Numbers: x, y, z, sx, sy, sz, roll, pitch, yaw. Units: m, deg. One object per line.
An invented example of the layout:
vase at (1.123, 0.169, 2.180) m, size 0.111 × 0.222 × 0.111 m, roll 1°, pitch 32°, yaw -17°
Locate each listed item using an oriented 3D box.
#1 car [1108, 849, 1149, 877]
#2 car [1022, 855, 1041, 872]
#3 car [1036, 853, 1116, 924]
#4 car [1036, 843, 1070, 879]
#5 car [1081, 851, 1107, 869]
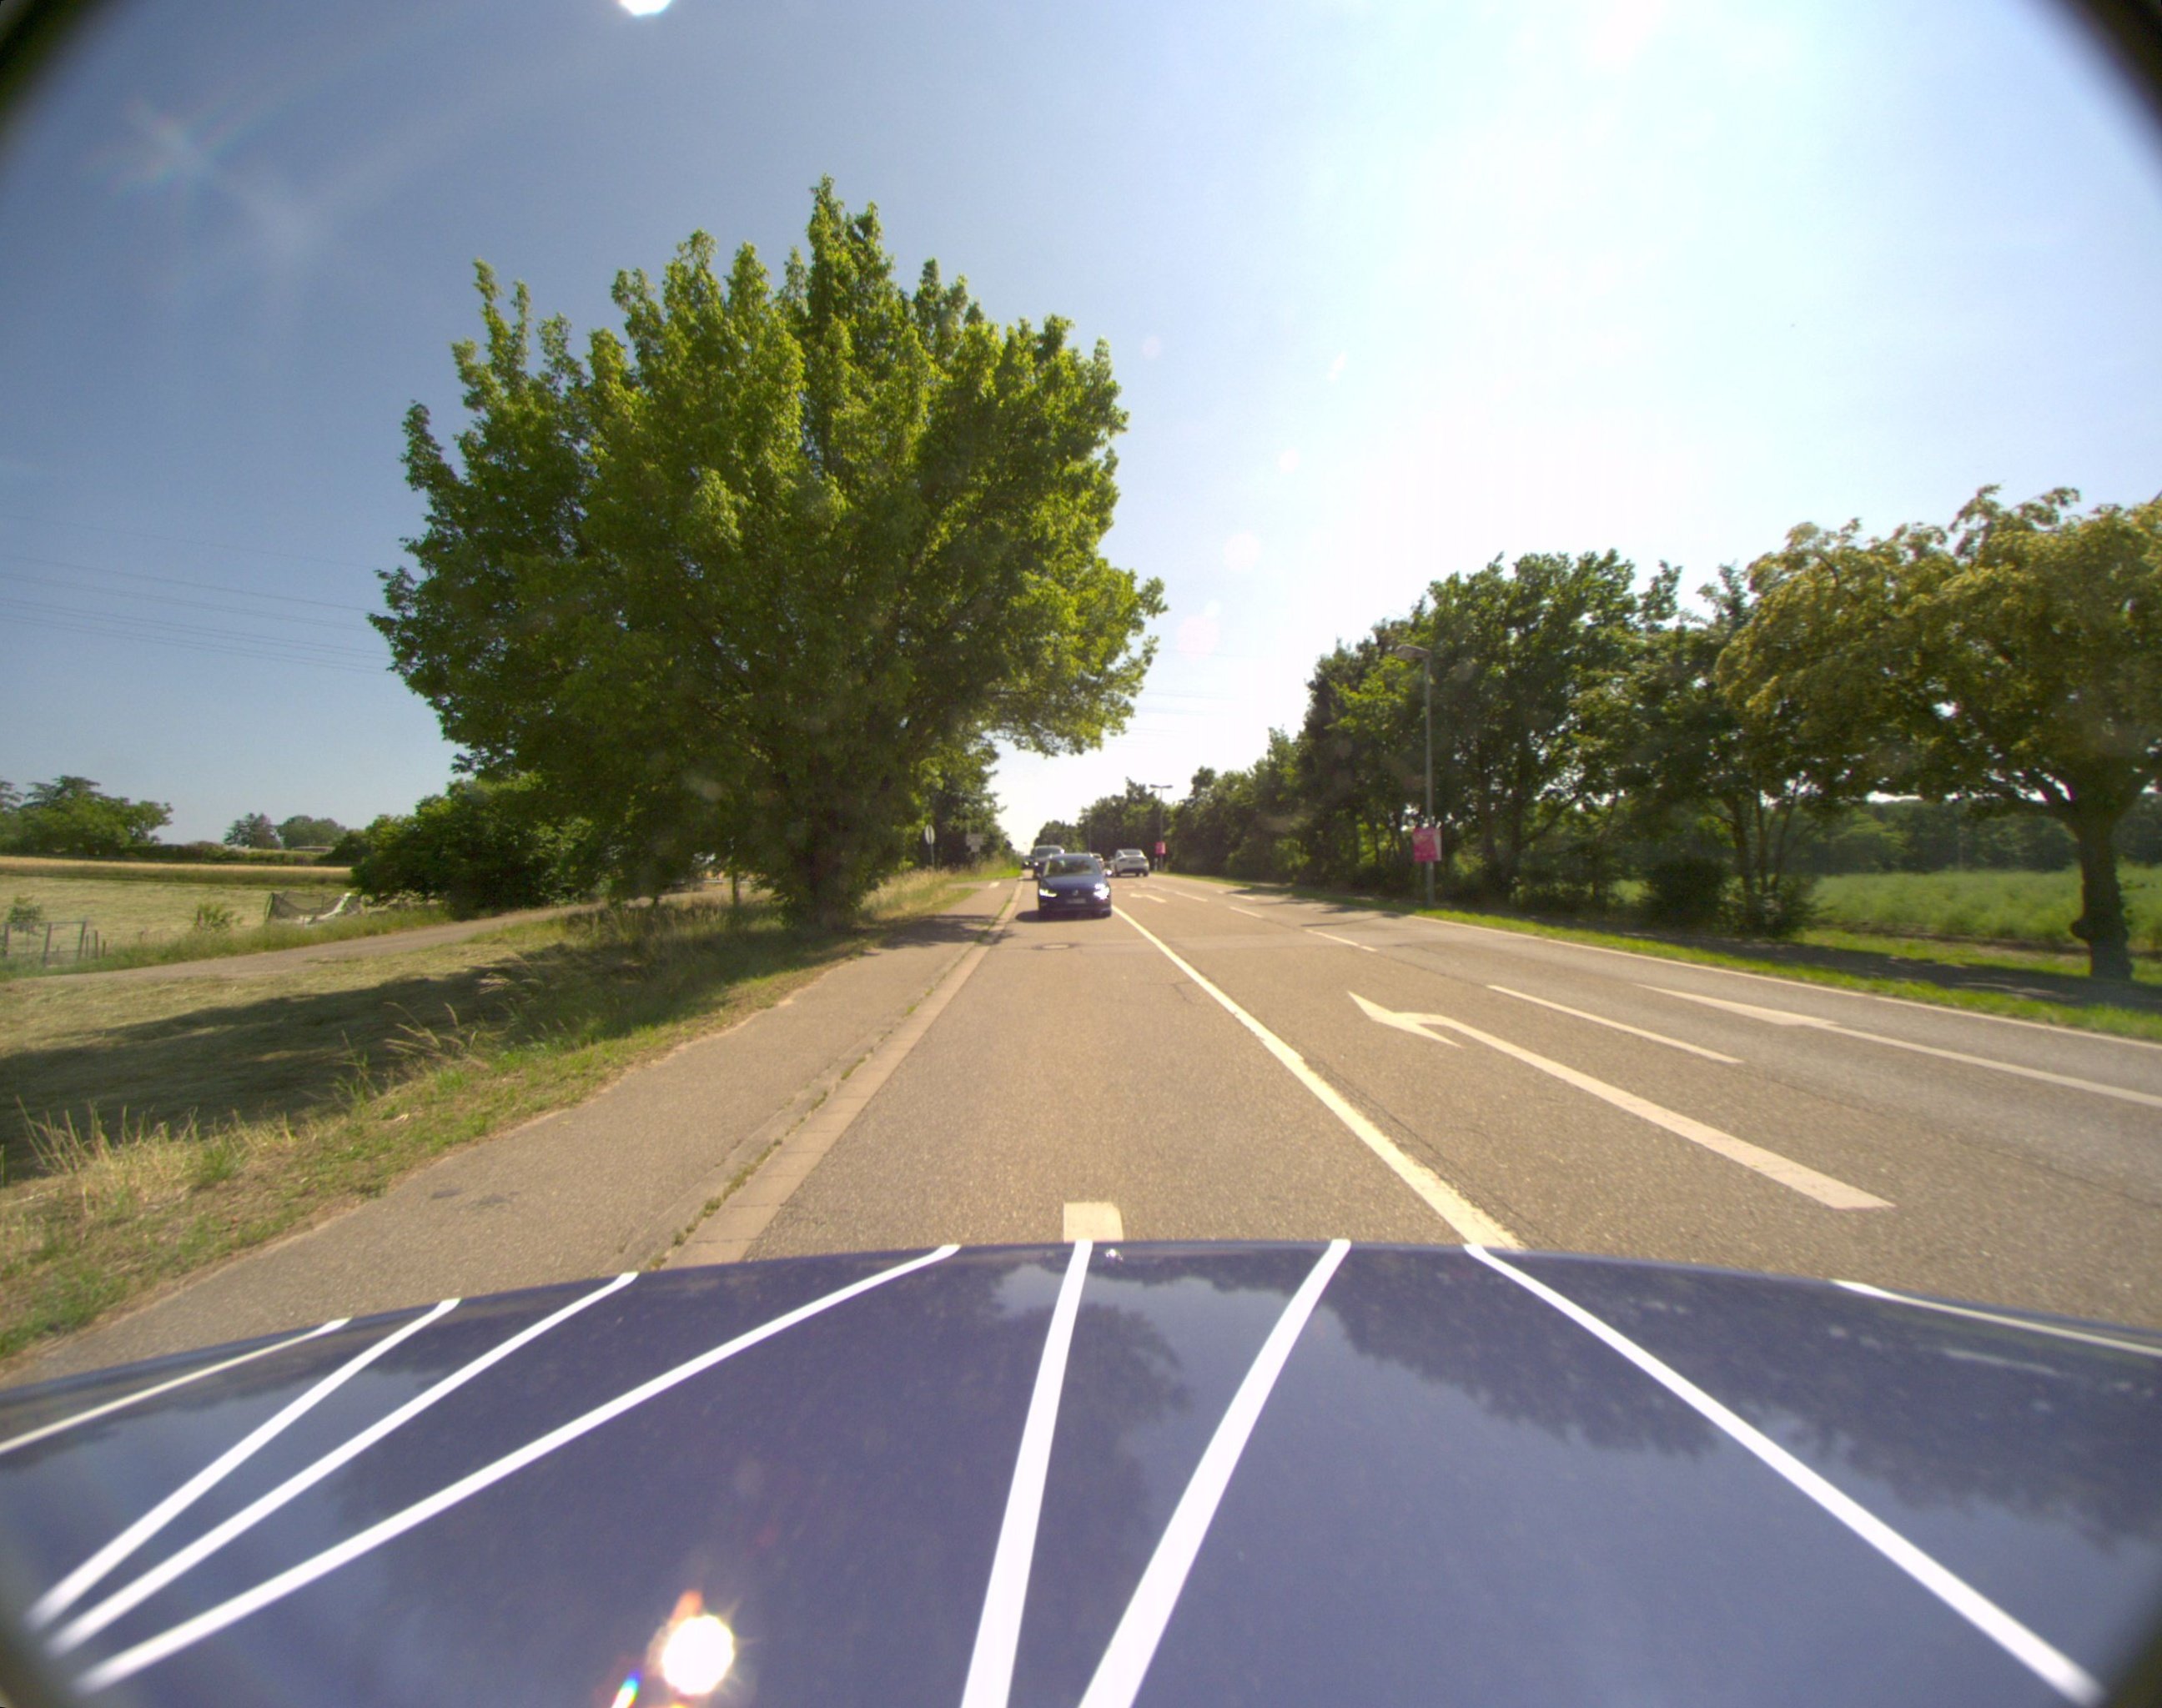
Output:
car at (2.822, 0.526, 45.979) m, size 1.881 × 1.563 × 4.470 m, roll -1°, pitch 0°, yaw -4°
car at (-5.266, 0.969, 80.215) m, size 1.766 × 1.530 × 3.681 m, roll -2°, pitch 2°, yaw -7°
car at (-0.234, 0.803, 19.930) m, size 1.765 × 1.520 × 4.420 m, roll -2°, pitch 1°, yaw -4°
car at (-1.693, 0.421, 45.022) m, size 1.765 × 1.953 × 4.261 m, roll -2°, pitch -1°, yaw -5°
car at (1.110, 0.513, 65.397) m, size 1.654 × 1.425 × 3.894 m, roll -1°, pitch -1°, yaw -7°
